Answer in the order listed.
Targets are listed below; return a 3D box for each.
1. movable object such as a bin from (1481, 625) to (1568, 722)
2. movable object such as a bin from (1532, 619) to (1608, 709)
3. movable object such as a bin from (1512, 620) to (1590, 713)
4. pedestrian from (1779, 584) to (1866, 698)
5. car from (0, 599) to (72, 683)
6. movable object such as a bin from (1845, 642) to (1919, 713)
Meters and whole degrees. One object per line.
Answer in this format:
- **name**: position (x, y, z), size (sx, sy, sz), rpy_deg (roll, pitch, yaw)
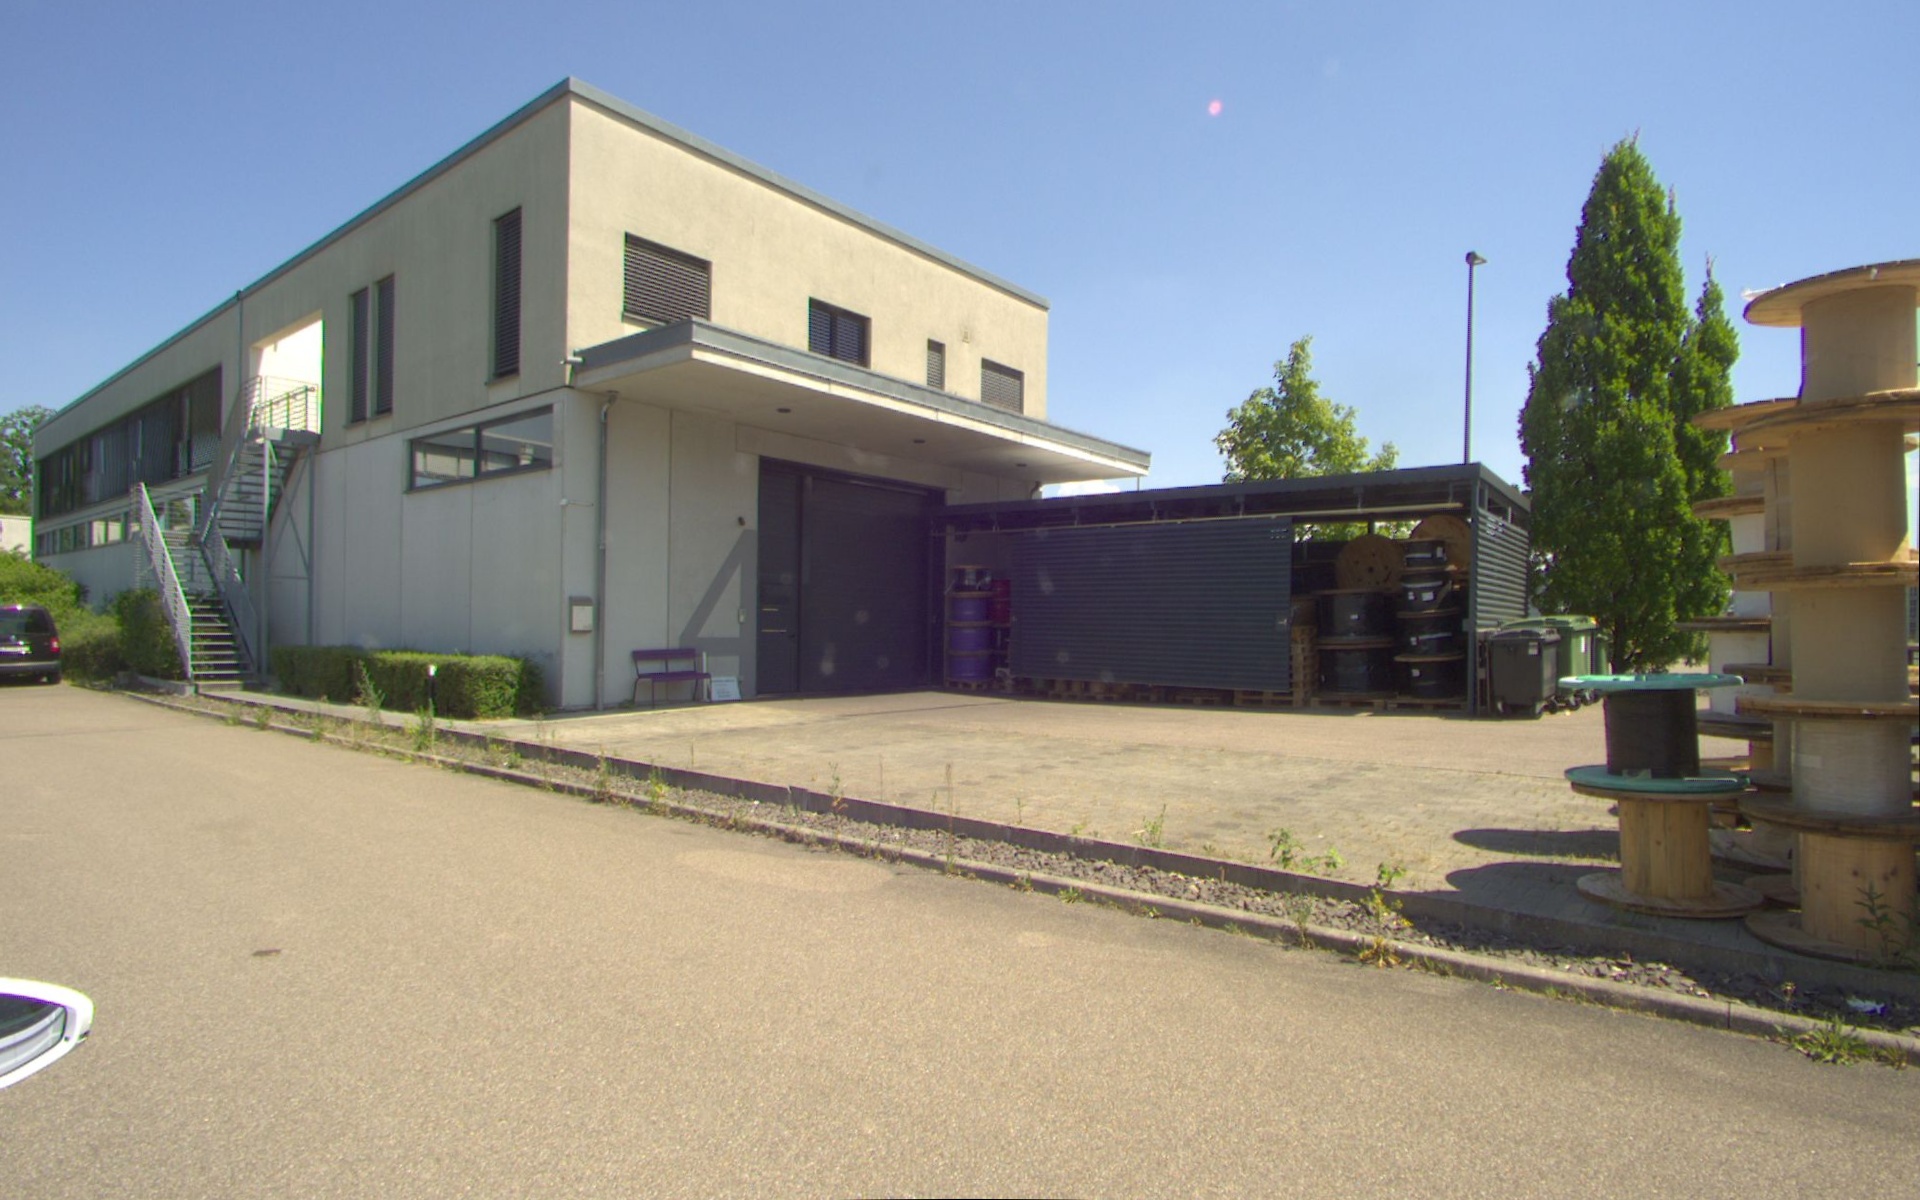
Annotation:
- **movable object such as a bin**: position (7.773, 0.991, 13.789), size (0.867, 1.266, 0.794), rpy_deg (0, -1, -43)
- **movable object such as a bin**: position (9.298, 0.952, 15.268), size (0.802, 1.315, 0.794), rpy_deg (0, -1, -43)
- **movable object such as a bin**: position (8.668, 0.957, 14.692), size (0.748, 1.315, 0.794), rpy_deg (0, -1, -43)
- **pedestrian**: position (13.997, 0.651, 16.267), size (0.756, 1.792, 0.807), rpy_deg (-1, 1, -20)
- **car**: position (-22.586, 0.928, 23.704), size (3.951, 1.861, 1.736), rpy_deg (0, 0, 39)
- **movable object such as a bin**: position (12.496, 1.039, 13.560), size (0.537, 0.929, 0.585), rpy_deg (-1, -1, 15)
